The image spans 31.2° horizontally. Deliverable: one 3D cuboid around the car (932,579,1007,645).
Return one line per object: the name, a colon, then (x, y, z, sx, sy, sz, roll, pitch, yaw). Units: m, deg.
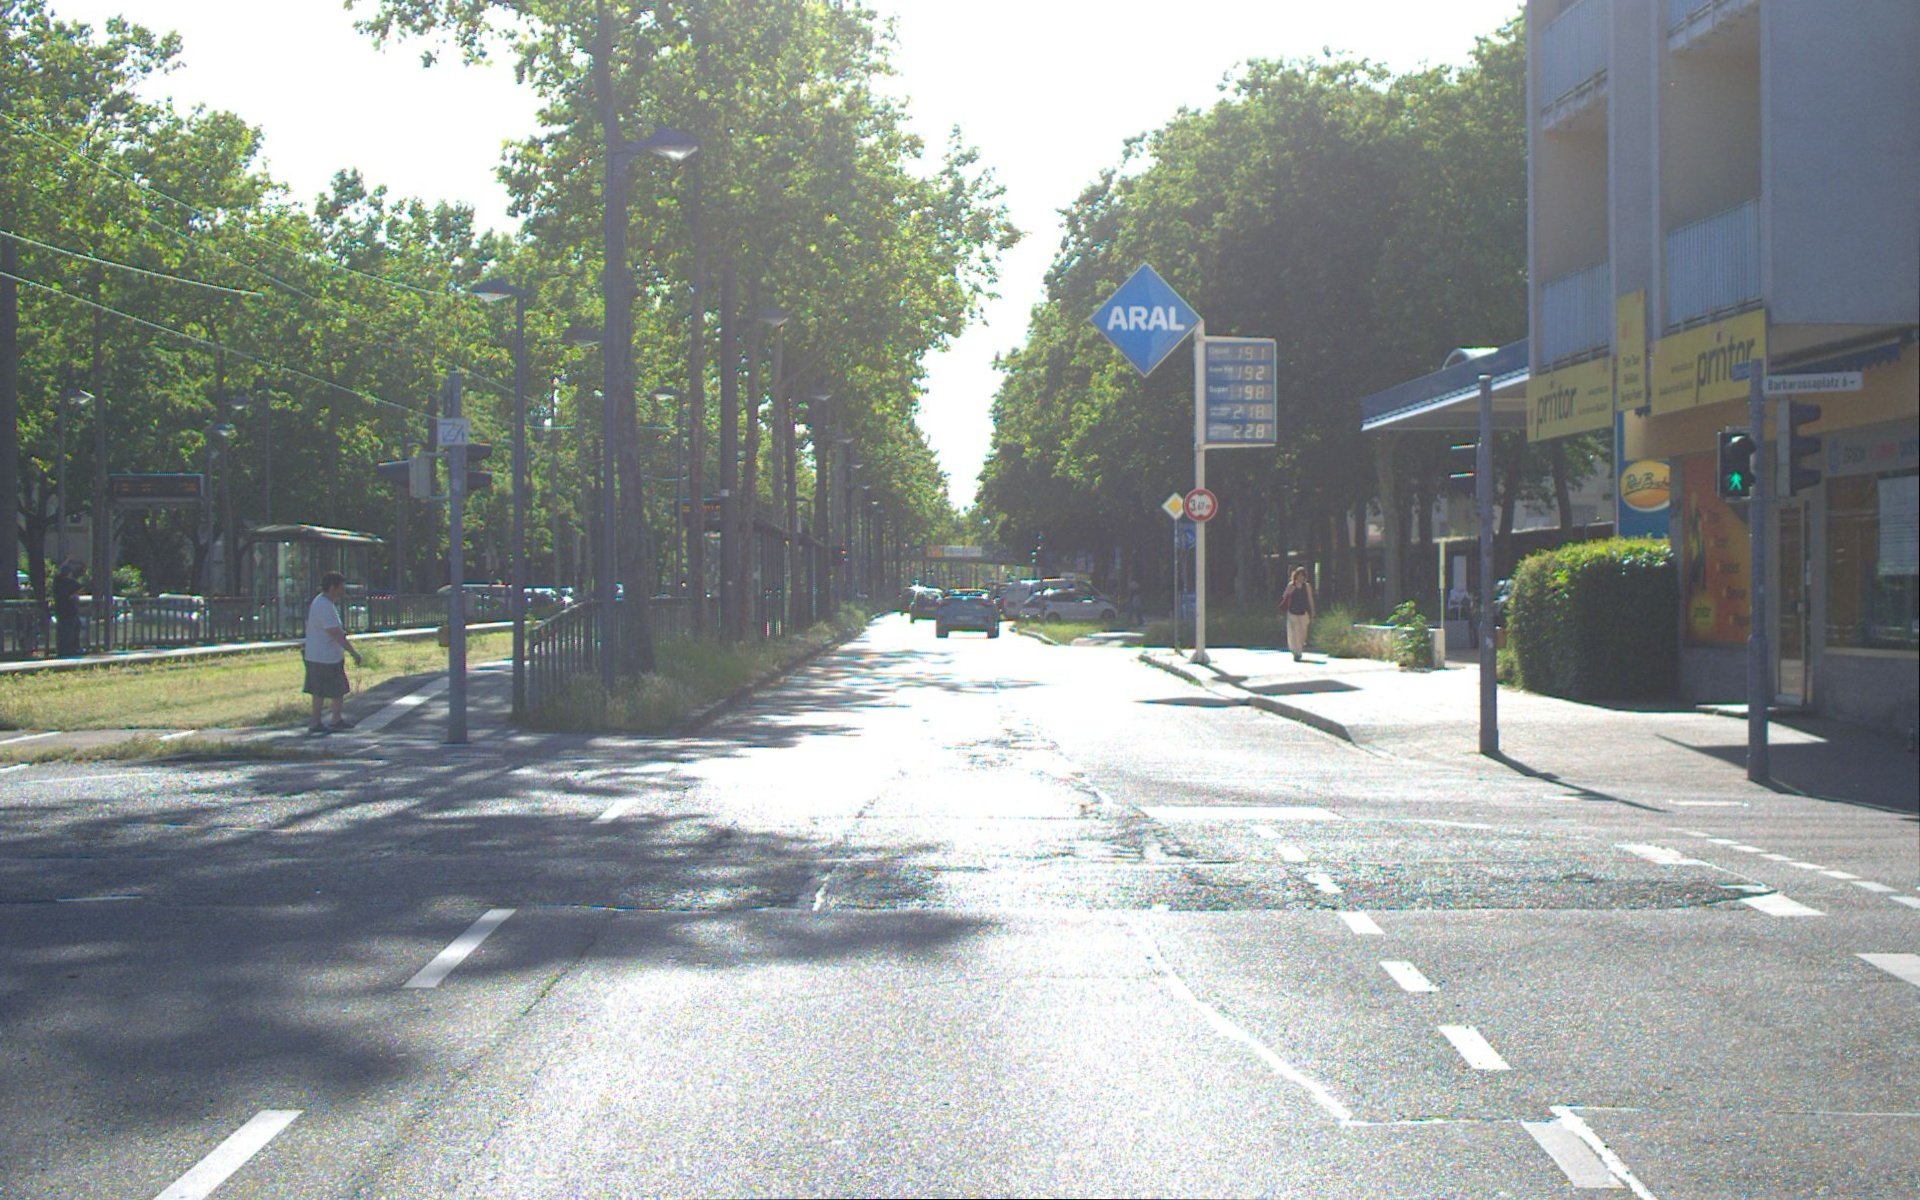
car: (0.310, 0.348, 103.792, 2.005, 1.853, 4.000, 2, 0, 3)

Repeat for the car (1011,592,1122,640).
car: (4.206, 0.635, 135.820, 3.986, 1.744, 1.755, 2, 0, -28)

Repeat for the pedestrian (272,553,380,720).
pedestrian: (-6.257, 0.359, 33.956, 0.891, 1.601, 0.613, 2, 0, 0)

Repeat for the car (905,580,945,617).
car: (-1.531, -0.070, 151.712, 1.635, 1.544, 4.000, 2, 0, 1)

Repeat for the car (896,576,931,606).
car: (-2.681, -0.534, 197.071, 1.894, 1.605, 4.500, 2, 0, -1)

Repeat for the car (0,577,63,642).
car: (-24.031, 0.227, 87.230, 1.622, 1.558, 3.413, 2, 0, -1)

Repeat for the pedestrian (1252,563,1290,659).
pedestrian: (5.728, 0.198, 63.345, 0.574, 1.741, 0.506, 2, 0, -1)
